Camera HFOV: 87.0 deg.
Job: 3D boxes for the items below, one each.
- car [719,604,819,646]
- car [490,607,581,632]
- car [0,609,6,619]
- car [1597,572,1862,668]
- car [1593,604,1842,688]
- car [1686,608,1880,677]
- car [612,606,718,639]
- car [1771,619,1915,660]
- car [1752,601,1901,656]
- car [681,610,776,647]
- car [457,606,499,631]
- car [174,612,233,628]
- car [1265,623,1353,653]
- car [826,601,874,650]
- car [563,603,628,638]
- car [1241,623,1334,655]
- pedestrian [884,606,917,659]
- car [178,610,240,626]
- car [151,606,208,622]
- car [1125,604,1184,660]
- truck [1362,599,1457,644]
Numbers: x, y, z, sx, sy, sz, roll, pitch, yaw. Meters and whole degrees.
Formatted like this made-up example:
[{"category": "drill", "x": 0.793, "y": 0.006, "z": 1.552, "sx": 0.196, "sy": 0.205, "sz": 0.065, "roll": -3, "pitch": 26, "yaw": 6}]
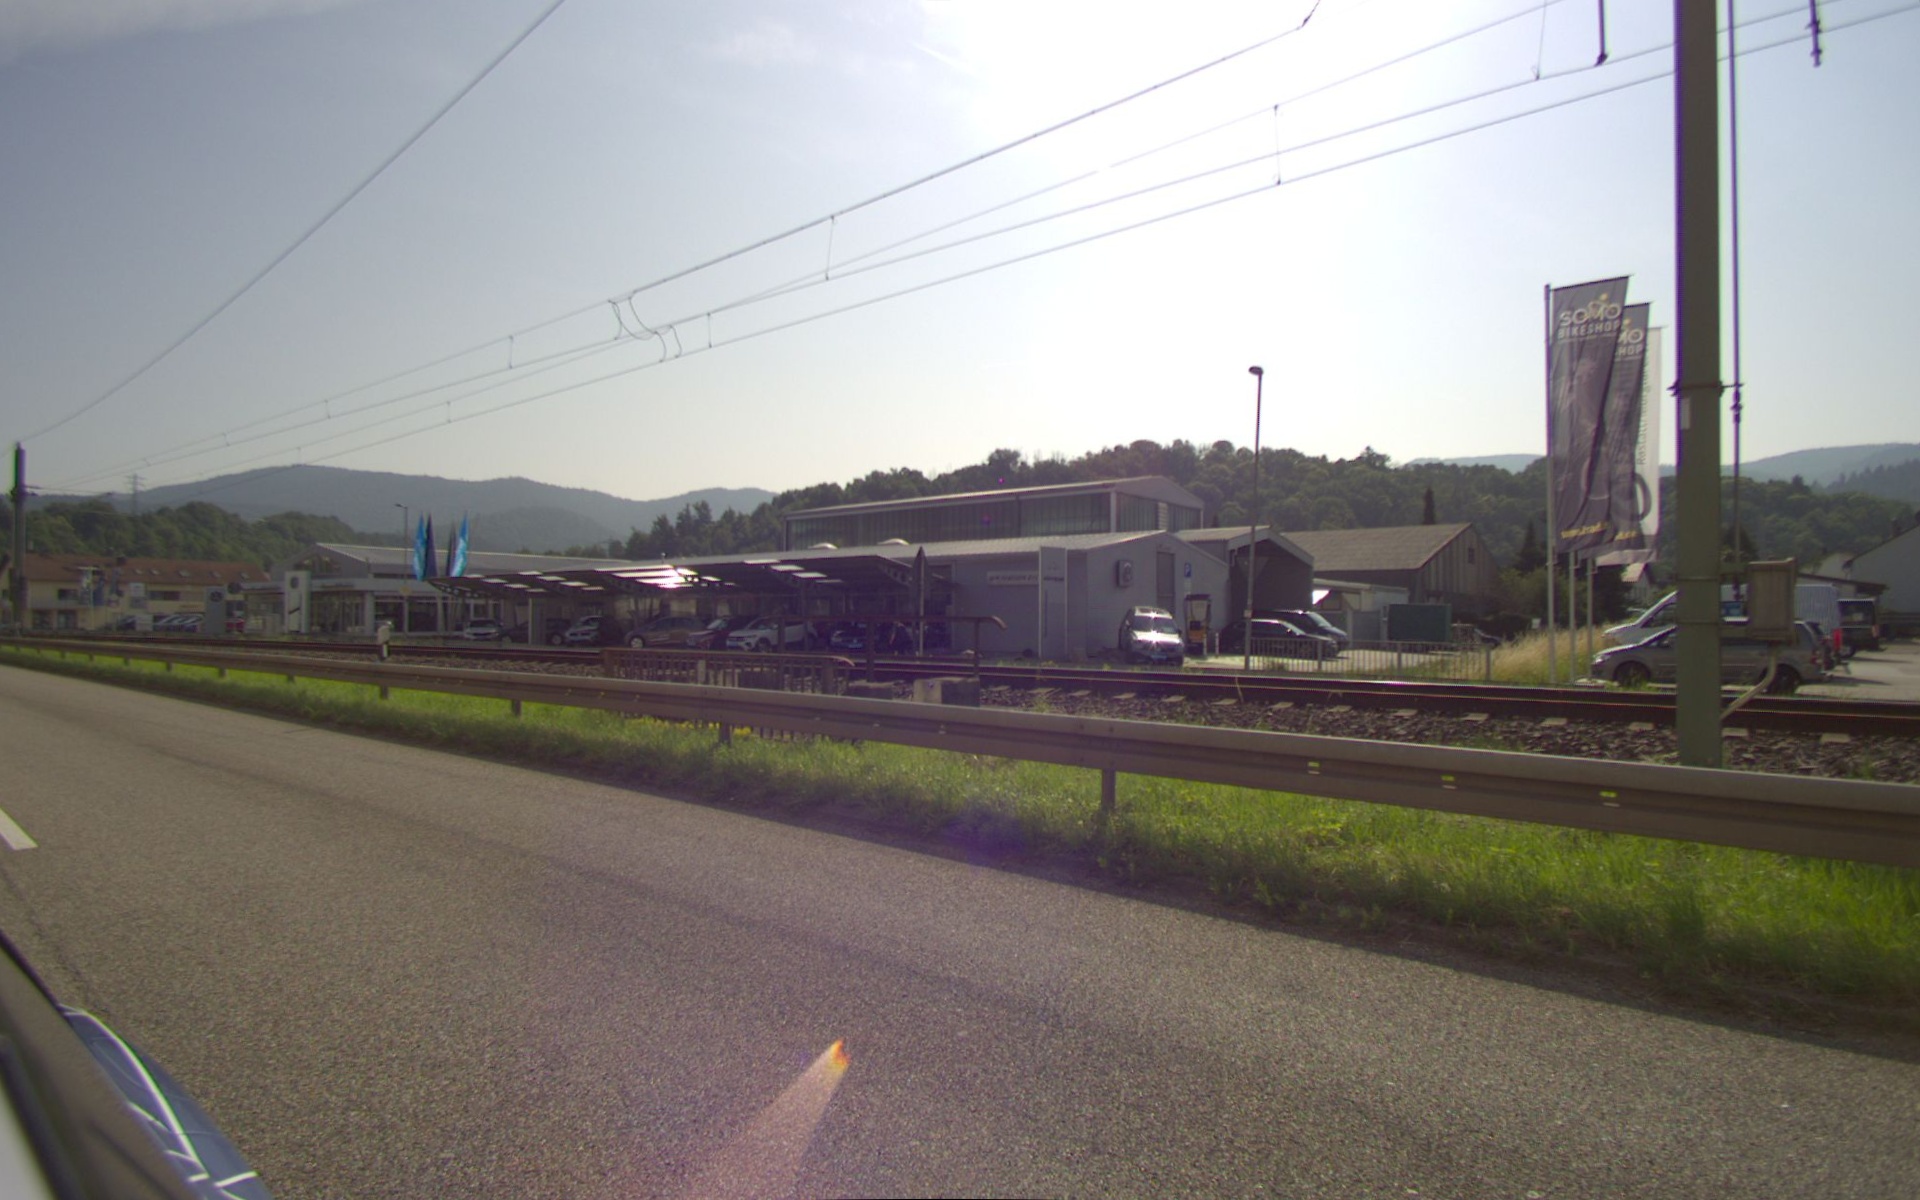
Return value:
[{"category": "car", "x": -7.861, "y": 1.001, "z": 41.933, "sx": 1.660, "sy": 1.539, "sz": 3.920, "roll": -1, "pitch": 1, "yaw": 37}, {"category": "car", "x": -22.731, "y": 1.042, "z": 54.316, "sx": 4.147, "sy": 1.352, "sz": 1.848, "roll": 0, "pitch": -1, "yaw": -2}, {"category": "car", "x": -120.675, "y": 1.724, "z": 125.054, "sx": 1.643, "sy": 1.309, "sz": 3.817, "roll": -1, "pitch": -1, "yaw": 31}, {"category": "car", "x": 23.085, "y": 0.519, "z": 30.671, "sx": 6.153, "sy": 2.653, "sz": 2.350, "roll": 1, "pitch": 0, "yaw": 38}, {"category": "car", "x": 16.902, "y": 0.968, "z": 22.800, "sx": 4.364, "sy": 1.701, "sz": 1.504, "roll": 0, "pitch": 0, "yaw": 38}, {"category": "car", "x": 22.284, "y": 1.094, "z": 27.607, "sx": 3.994, "sy": 1.676, "sz": 1.850, "roll": 1, "pitch": -1, "yaw": 38}, {"category": "car", "x": -13.601, "y": 1.049, "z": 46.853, "sx": 4.374, "sy": 1.517, "sz": 1.846, "roll": 0, "pitch": -1, "yaw": 2}, {"category": "car", "x": 33.466, "y": 1.452, "z": 38.480, "sx": 4.069, "sy": 1.453, "sz": 1.562, "roll": 0, "pitch": -1, "yaw": 41}, {"category": "car", "x": 37.015, "y": 1.186, "z": 43.381, "sx": 4.761, "sy": 2.228, "sz": 1.973, "roll": 0, "pitch": -1, "yaw": 41}, {"category": "car", "x": -9.909, "y": 1.185, "z": 43.614, "sx": 1.500, "sy": 1.335, "sz": 3.920, "roll": -1, "pitch": 1, "yaw": 37}, {"category": "car", "x": -27.195, "y": 1.052, "z": 57.236, "sx": 1.815, "sy": 1.396, "sz": 4.538, "roll": 0, "pitch": -1, "yaw": -21}, {"category": "car", "x": -68.644, "y": 1.824, "z": 91.888, "sx": 1.751, "sy": 1.471, "sz": 3.965, "roll": -1, "pitch": -2, "yaw": 26}, {"category": "car", "x": 15.459, "y": 1.676, "z": 44.902, "sx": 3.476, "sy": 1.308, "sz": 1.441, "roll": -1, "pitch": -2, "yaw": 33}, {"category": "car", "x": -4.287, "y": 0.936, "z": 39.072, "sx": 1.637, "sy": 1.634, "sz": 4.039, "roll": -2, "pitch": 1, "yaw": -8}, {"category": "car", "x": -18.379, "y": 1.013, "z": 51.239, "sx": 1.821, "sy": 1.539, "sz": 4.273, "roll": -2, "pitch": 1, "yaw": -2}, {"category": "car", "x": 13.762, "y": 1.625, "z": 42.597, "sx": 3.476, "sy": 1.278, "sz": 1.441, "roll": -1, "pitch": -2, "yaw": 33}, {"category": "pedestrian", "x": -1.991, "y": 1.101, "z": 34.093, "sx": 0.831, "sy": 1.747, "sz": 0.797, "roll": -1, "pitch": -2, "yaw": 25}, {"category": "car", "x": -65.655, "y": 1.615, "z": 88.530, "sx": 1.854, "sy": 1.385, "sz": 3.957, "roll": -1, "pitch": -2, "yaw": 31}, {"category": "car", "x": -73.810, "y": 1.325, "z": 95.753, "sx": 1.757, "sy": 1.471, "sz": 3.951, "roll": -1, "pitch": -2, "yaw": 36}, {"category": "car", "x": 6.472, "y": 1.024, "z": 34.042, "sx": 1.504, "sy": 1.541, "sz": 3.995, "roll": 0, "pitch": 3, "yaw": 5}, {"category": "truck", "x": 25.807, "y": 1.228, "z": 58.147, "sx": 4.635, "sy": 2.443, "sz": 1.975, "roll": 1, "pitch": -1, "yaw": 37}]
